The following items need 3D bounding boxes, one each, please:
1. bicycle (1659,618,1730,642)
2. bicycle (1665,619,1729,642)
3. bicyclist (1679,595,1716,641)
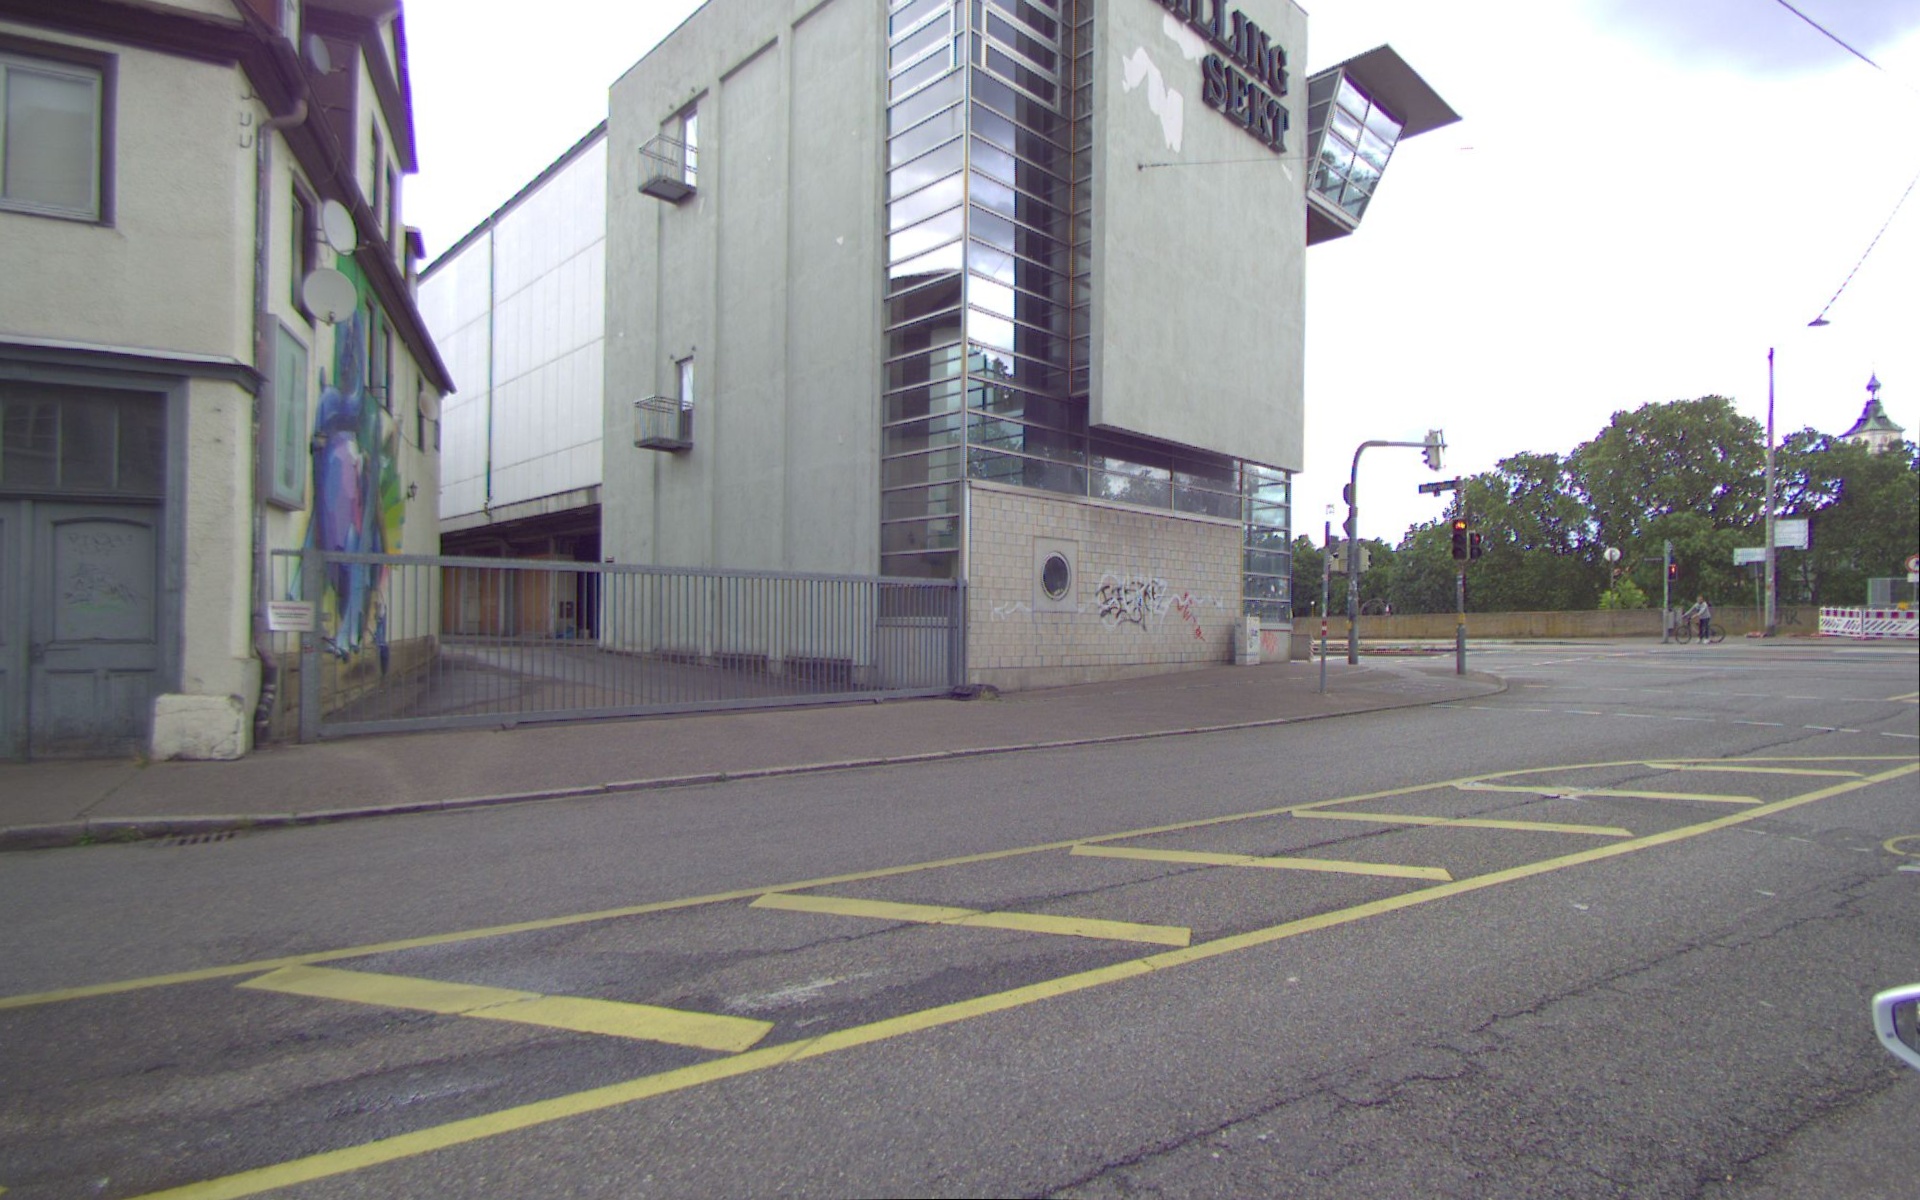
[{"bbox_3d":[28.500,1.152,38.991,2.096,0.904,0.760,-1,0,21],"label":"bicycle"},{"bbox_3d":[28.549,1.182,38.948,1.912,0.878,0.560,0,-1,17],"label":"bicycle"},{"bbox_3d":[28.604,0.703,38.952,0.985,1.767,0.755,0,0,22],"label":"bicyclist"}]
